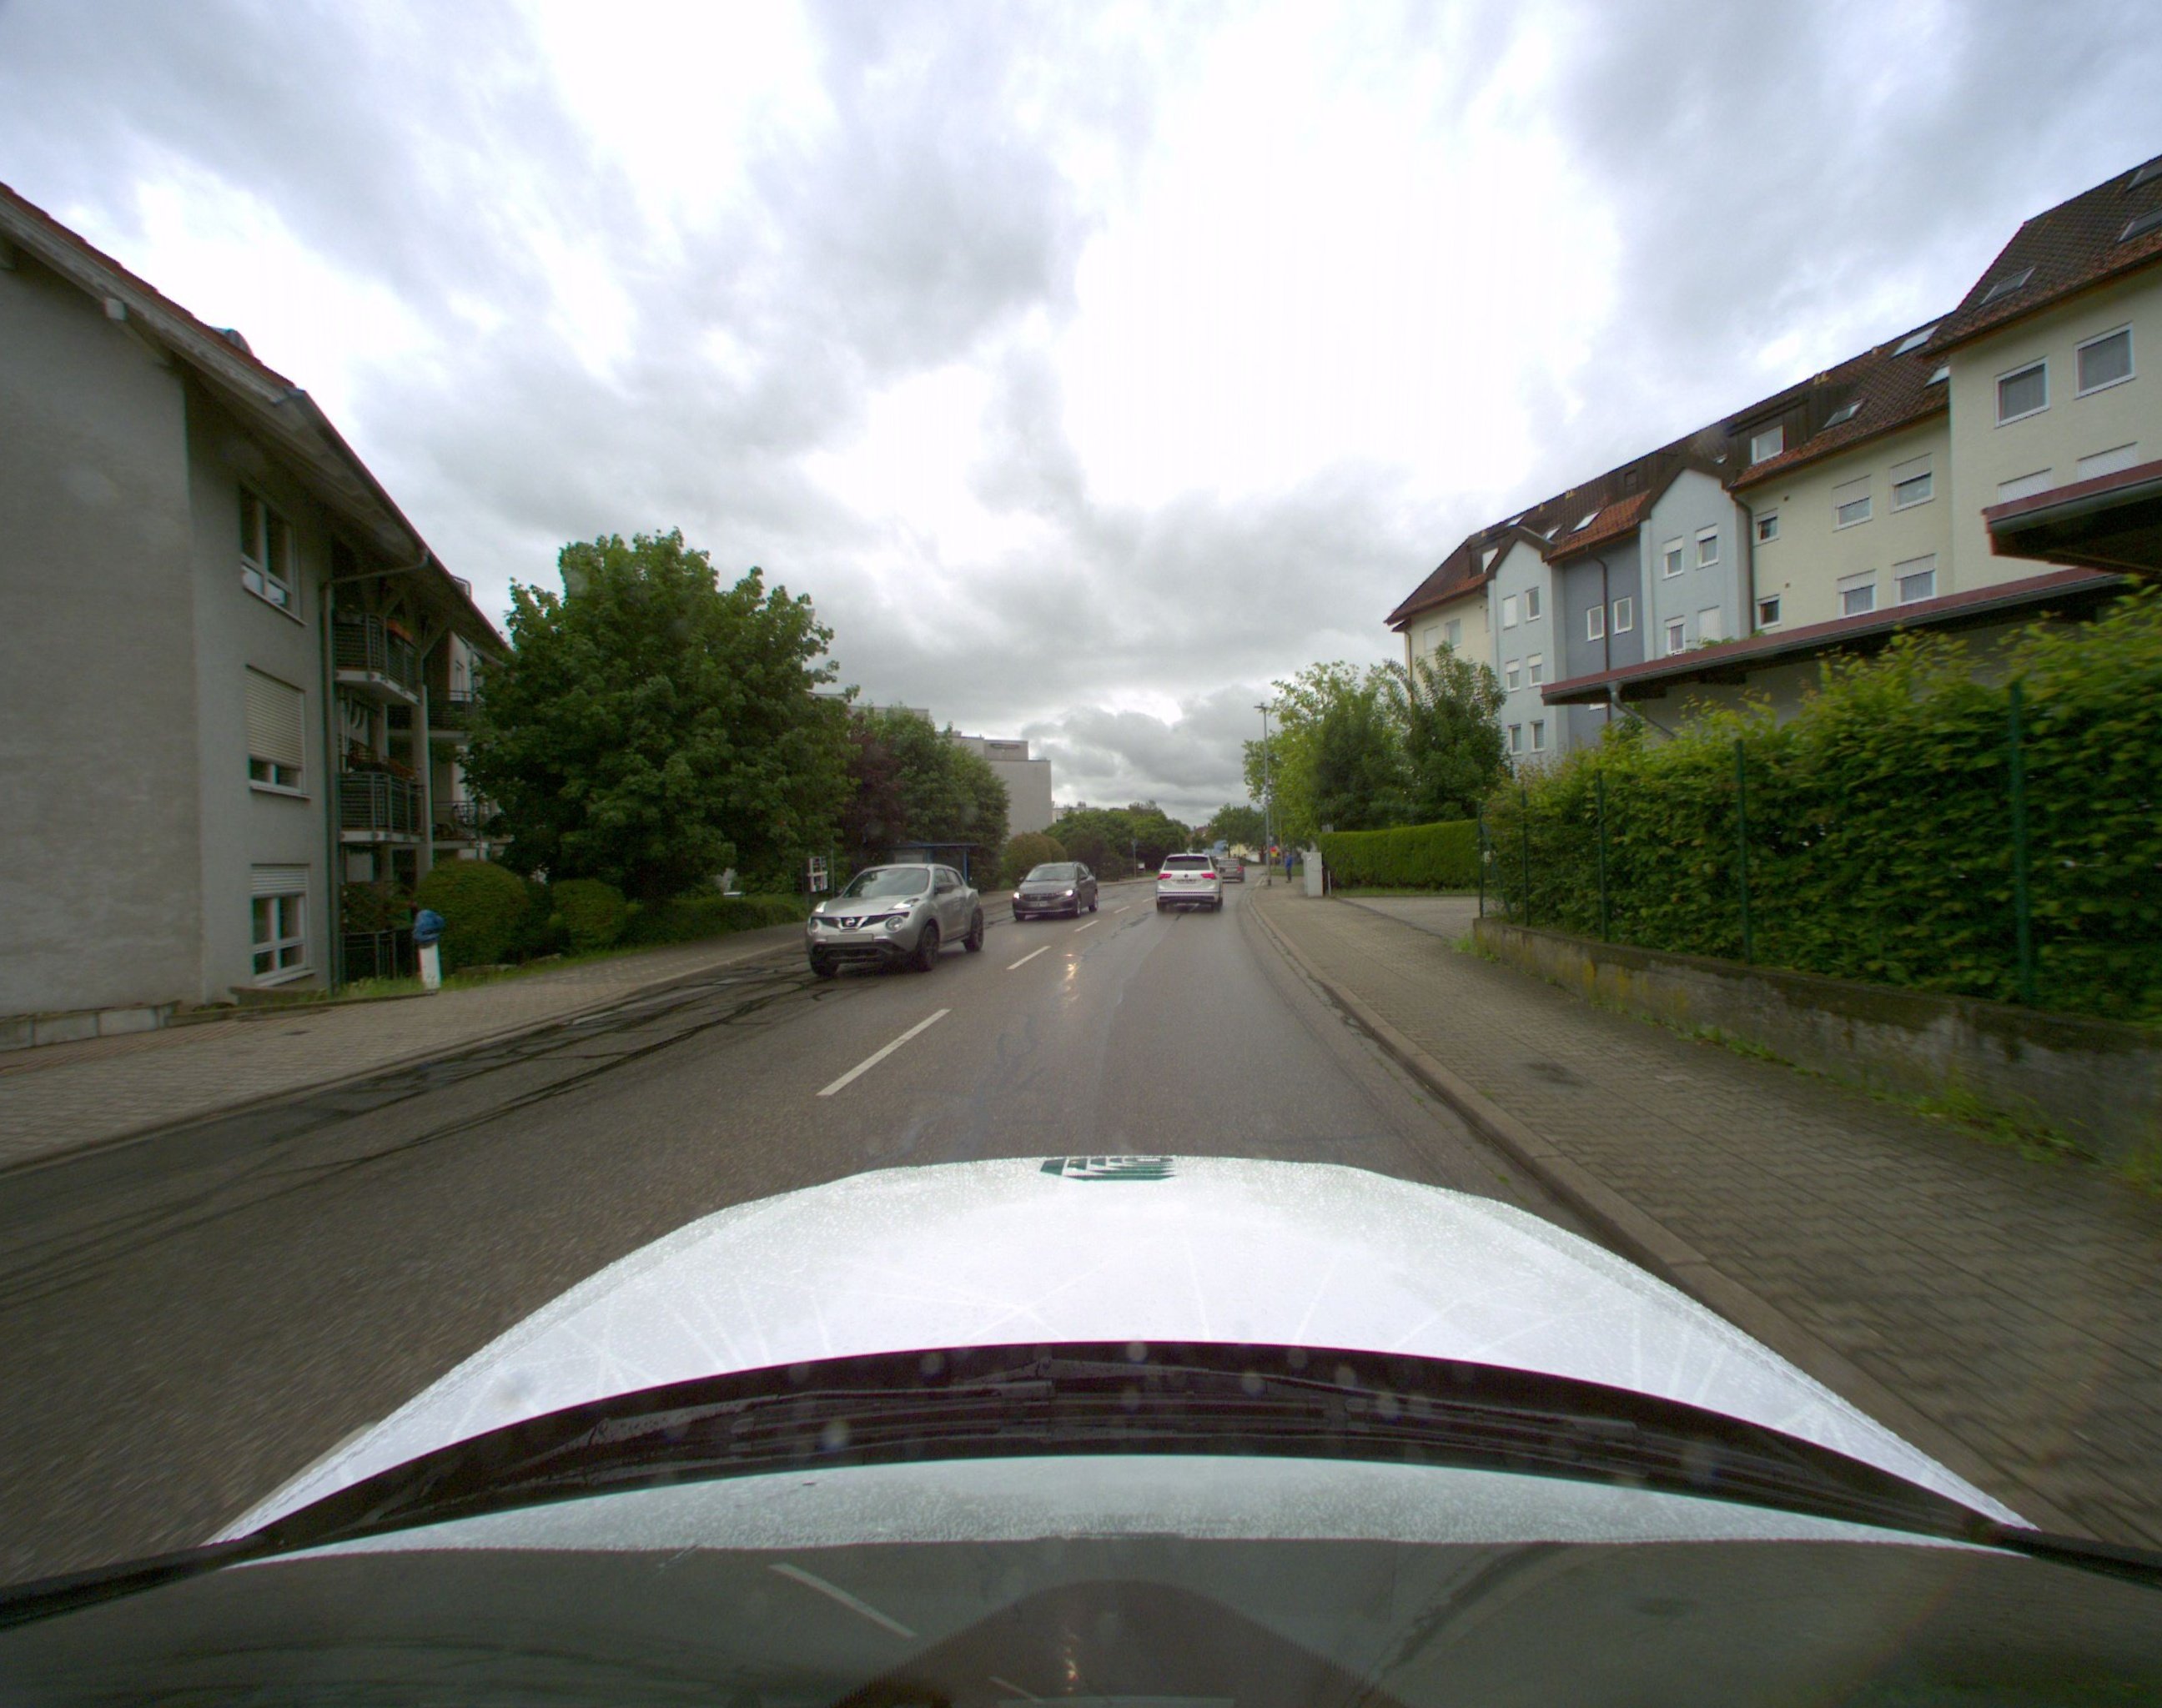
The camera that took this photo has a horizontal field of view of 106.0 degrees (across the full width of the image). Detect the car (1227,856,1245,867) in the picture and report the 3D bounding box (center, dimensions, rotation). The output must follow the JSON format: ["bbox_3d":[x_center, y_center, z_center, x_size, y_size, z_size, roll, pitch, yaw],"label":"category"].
[{"bbox_3d":[23.034,1.190,121.412,1.998,1.456,4.001,-2,-2,2],"label":"car"}]

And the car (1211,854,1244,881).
[{"bbox_3d":[8.995,0.868,49.786,1.753,1.510,4.014,-2,-3,13],"label":"car"}]

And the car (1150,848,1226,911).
[{"bbox_3d":[3.301,0.717,24.517,1.908,1.722,4.278,-1,-1,12],"label":"car"}]

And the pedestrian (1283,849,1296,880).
[{"bbox_3d":[11.402,0.578,44.569,0.565,1.672,0.726,-3,-3,20],"label":"pedestrian"}]

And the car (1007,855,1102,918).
[{"bbox_3d":[-0.651,0.850,23.122,1.890,1.590,4.125,-2,0,9],"label":"car"}]

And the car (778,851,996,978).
[{"bbox_3d":[-2.837,0.826,12.993,1.890,1.657,4.125,-2,0,9],"label":"car"}]
